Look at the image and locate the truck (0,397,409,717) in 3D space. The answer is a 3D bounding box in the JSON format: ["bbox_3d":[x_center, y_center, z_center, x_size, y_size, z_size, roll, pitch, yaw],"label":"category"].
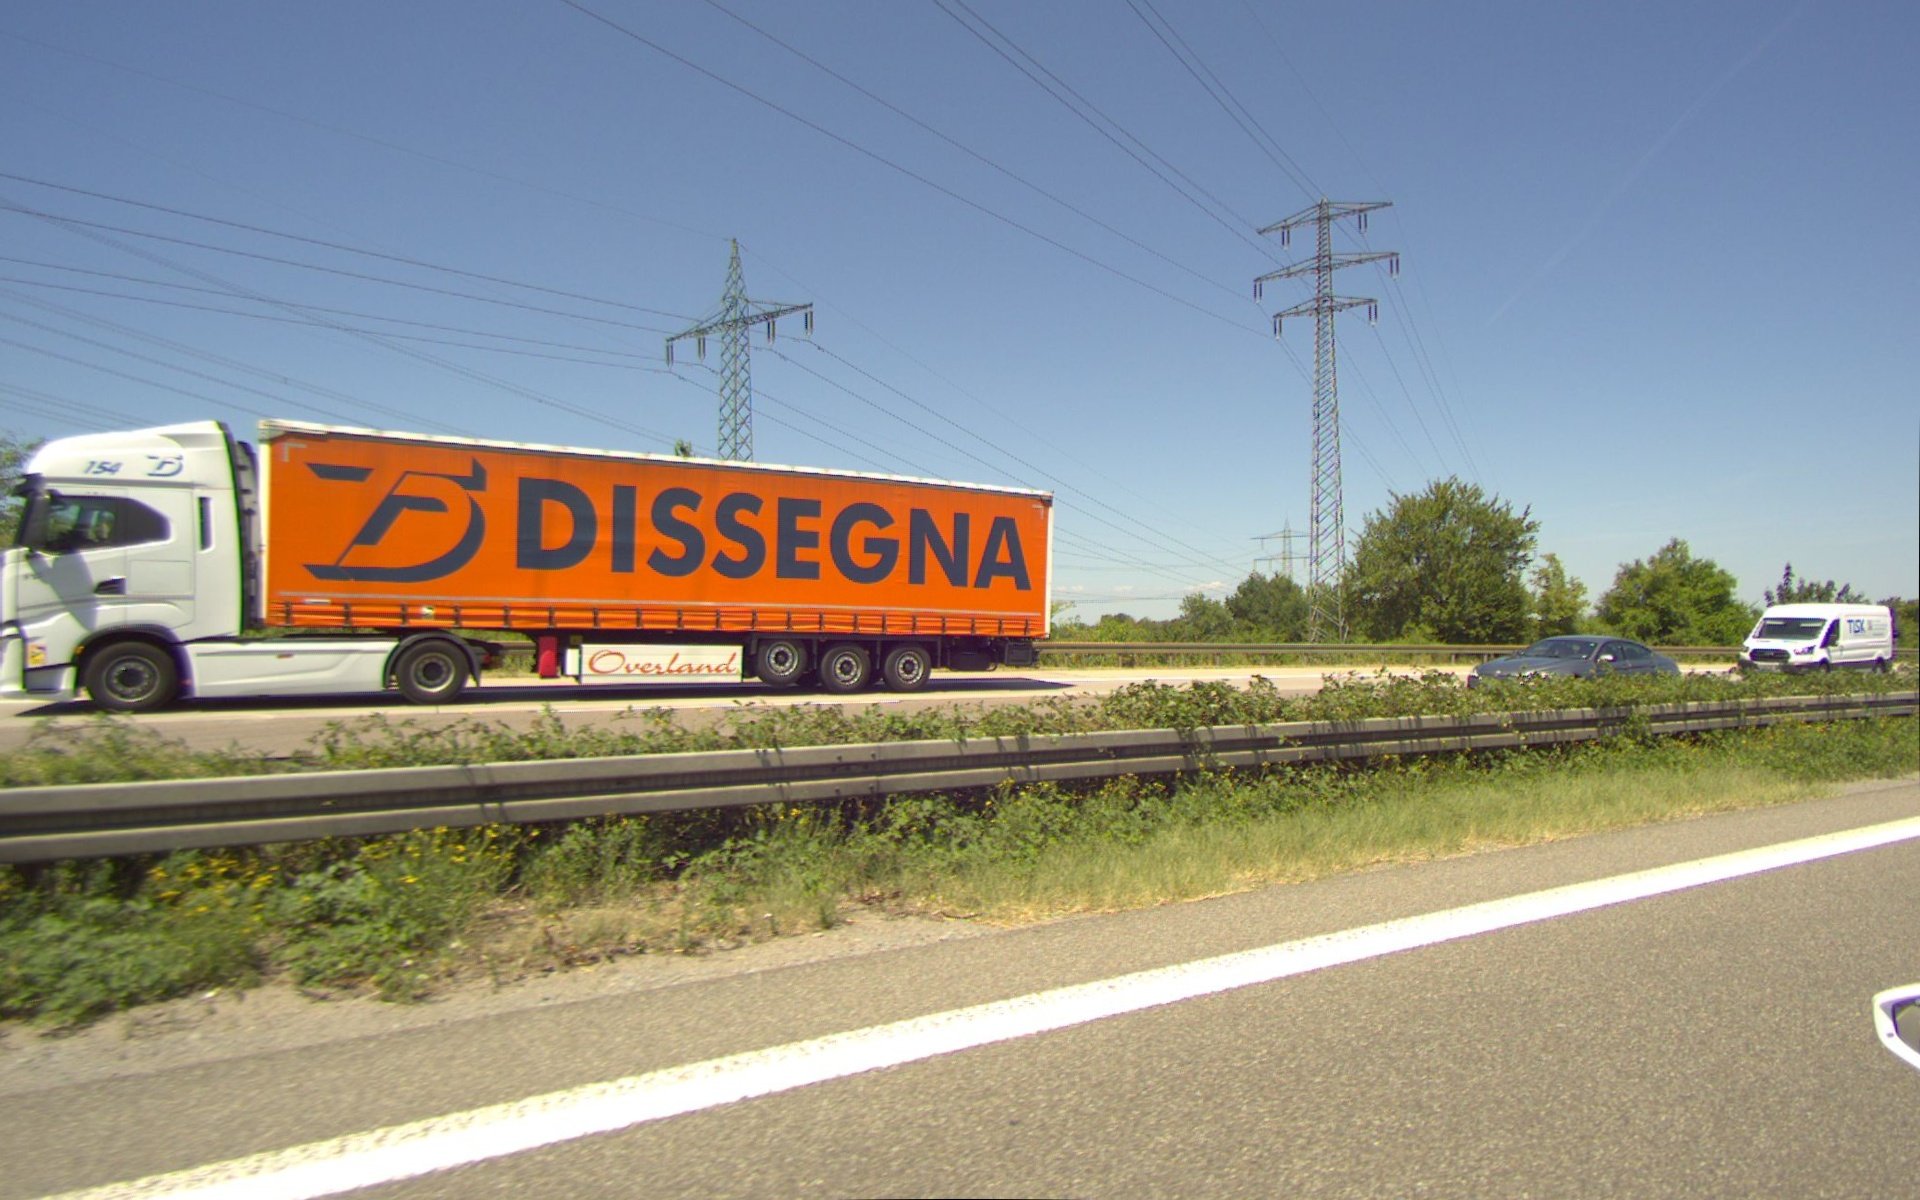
[{"bbox_3d":[-10.841,-0.526,14.947,4.545,4.073,2.471,1,0,-29],"label":"truck"}]

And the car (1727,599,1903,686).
[{"bbox_3d":[26.868,1.311,31.485,6.409,2.504,1.985,2,0,-28],"label":"car"}]

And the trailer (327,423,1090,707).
[{"bbox_3d":[-3.789,-0.336,18.824,13.418,4.096,2.496,2,0,-29],"label":"trailer"}]

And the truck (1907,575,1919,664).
[{"bbox_3d":[47.219,0.998,46.975,5.103,4.135,2.818,2,0,-29],"label":"truck"}]

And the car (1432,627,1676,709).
[{"bbox_3d":[11.611,1.249,19.582,4.713,1.345,1.985,0,0,-29],"label":"car"}]
